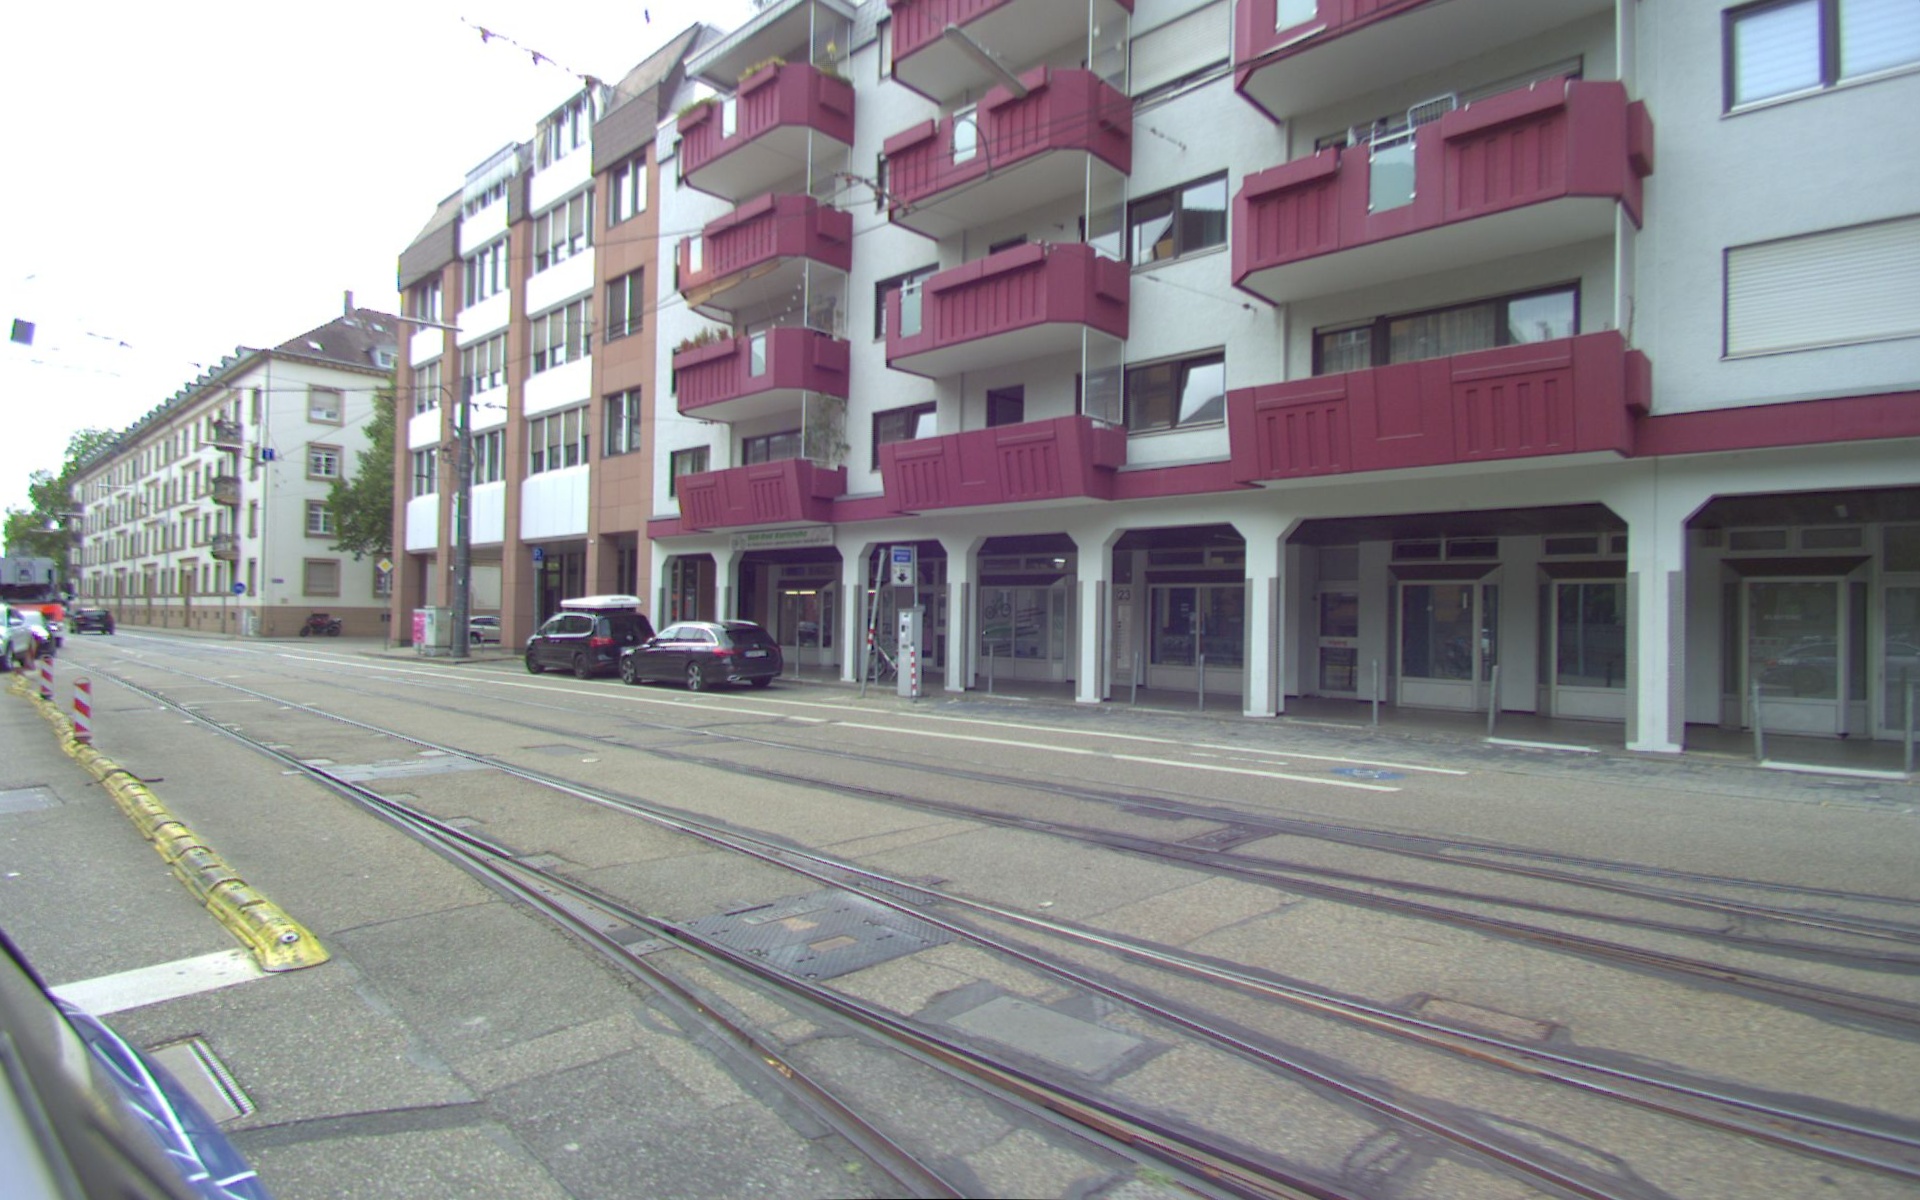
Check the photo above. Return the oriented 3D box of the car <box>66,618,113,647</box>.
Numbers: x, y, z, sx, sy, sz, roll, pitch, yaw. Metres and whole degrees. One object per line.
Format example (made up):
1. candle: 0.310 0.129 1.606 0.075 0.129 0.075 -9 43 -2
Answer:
1. car: -49.481 1.826 57.502 1.748 1.549 4.051 0 -1 -45

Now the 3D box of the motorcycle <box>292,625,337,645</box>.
1. motorcycle: -35.333 1.908 55.420 0.793 1.094 1.898 -1 -2 44

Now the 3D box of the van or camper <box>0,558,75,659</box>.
1. van or camper: -36.015 0.347 38.505 9.654 3.447 2.572 -1 -2 44

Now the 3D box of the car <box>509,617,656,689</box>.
1. car: -9.965 1.318 26.529 4.699 1.659 1.786 -1 0 44

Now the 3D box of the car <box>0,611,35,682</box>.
1. car: -23.724 1.065 24.244 1.745 1.603 4.293 0 -1 -35

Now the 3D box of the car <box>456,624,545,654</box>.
1. car: -22.307 1.898 49.198 1.608 1.399 3.606 0 -2 35

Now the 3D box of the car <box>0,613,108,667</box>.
1. car: -27.896 1.180 31.303 1.744 1.546 4.061 0 -1 -31

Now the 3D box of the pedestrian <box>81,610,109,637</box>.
1. pedestrian: -59.038 1.594 69.078 1.003 1.856 1.002 1 -2 -5

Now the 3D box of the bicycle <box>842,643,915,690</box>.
1. bicycle: -1.803 1.453 22.238 1.647 0.960 0.559 0 -2 37

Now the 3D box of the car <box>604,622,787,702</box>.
1. car: -5.936 1.279 22.346 4.699 1.491 1.735 -1 0 44
